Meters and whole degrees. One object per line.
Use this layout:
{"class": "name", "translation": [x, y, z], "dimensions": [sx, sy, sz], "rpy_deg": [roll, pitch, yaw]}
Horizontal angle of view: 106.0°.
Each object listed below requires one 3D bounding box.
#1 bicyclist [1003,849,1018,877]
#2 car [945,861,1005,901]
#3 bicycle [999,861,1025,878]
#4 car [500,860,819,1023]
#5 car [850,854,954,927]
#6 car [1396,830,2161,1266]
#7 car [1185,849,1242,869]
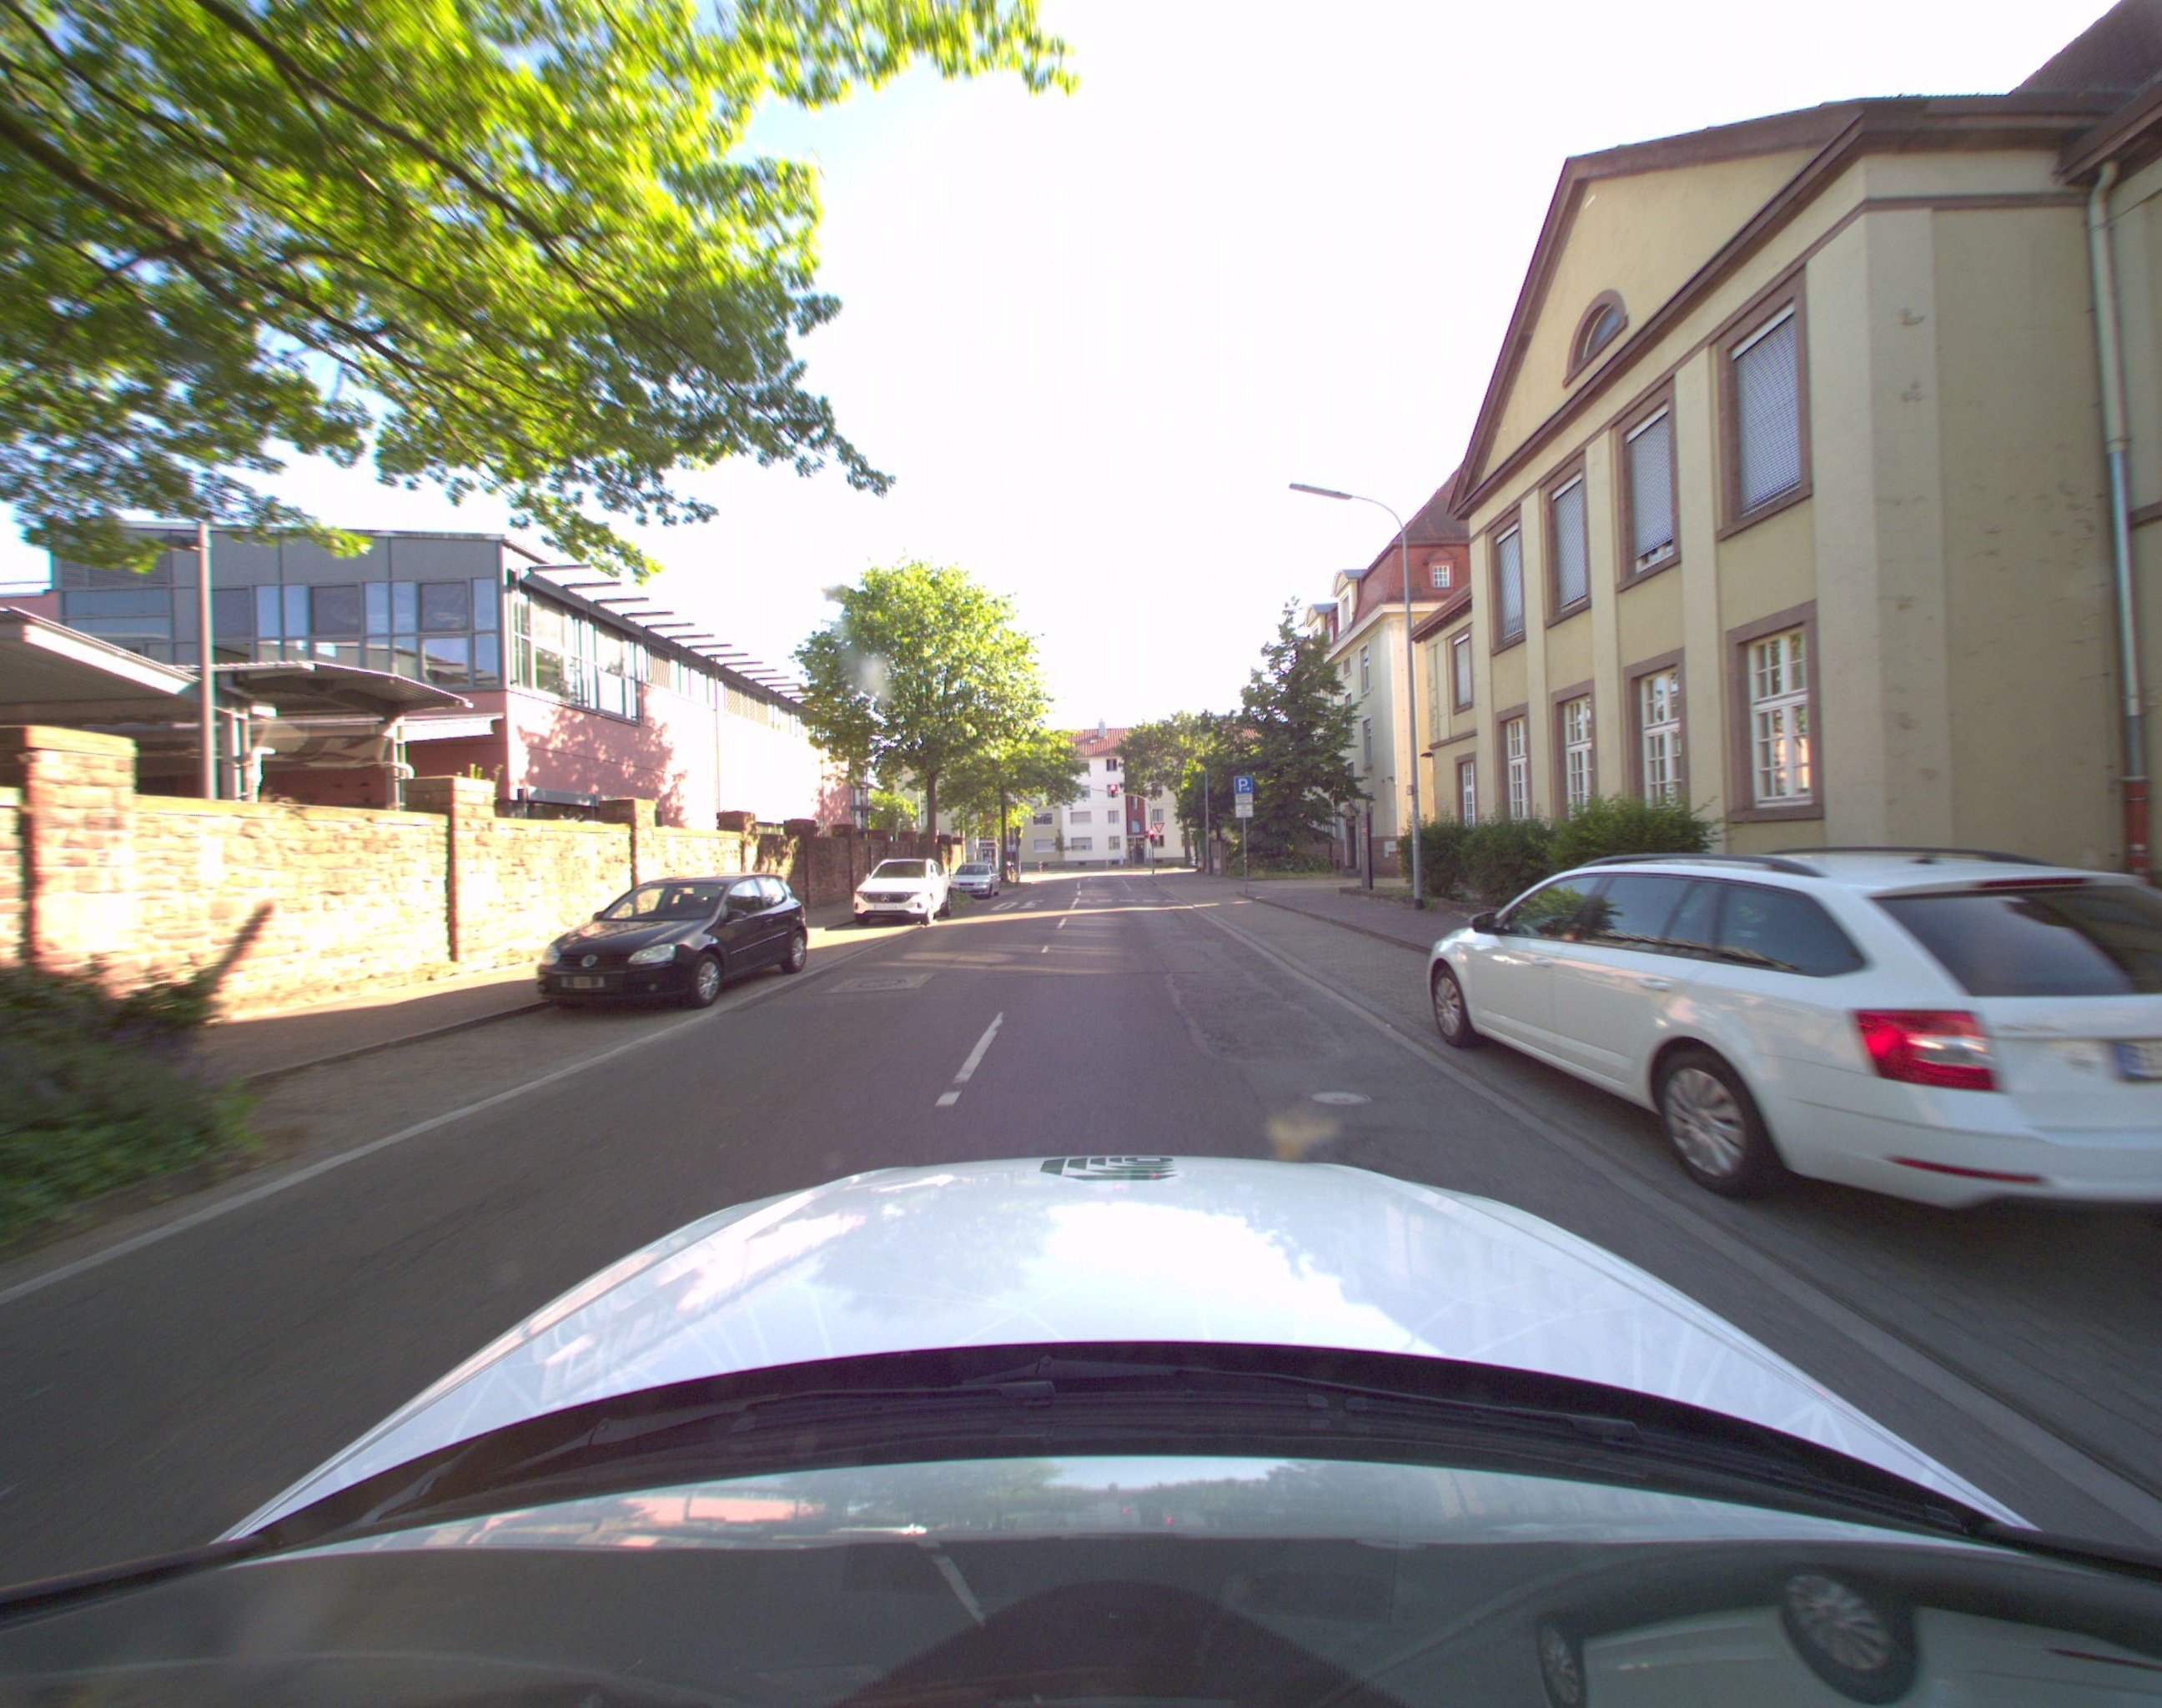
{"class": "bicyclist", "translation": [-4.586, 0.581, 53.180], "dimensions": [0.789, 1.757, 0.608], "rpy_deg": [-1, 0, -22]}
{"class": "car", "translation": [-4.221, 1.059, 33.056], "dimensions": [1.720, 1.475, 4.479], "rpy_deg": [0, 0, 1]}
{"class": "bicycle", "translation": [-4.503, 0.996, 53.234], "dimensions": [1.688, 1.080, 0.349], "rpy_deg": [-1, 0, -19]}
{"class": "car", "translation": [-5.003, 0.917, 10.419], "dimensions": [1.730, 1.592, 4.110], "rpy_deg": [-1, 0, 3]}
{"class": "car", "translation": [-4.569, 0.865, 21.415], "dimensions": [1.714, 1.683, 4.350], "rpy_deg": [-2, 0, 0]}
{"class": "car", "translation": [3.631, 0.604, 4.824], "dimensions": [1.826, 1.323, 4.497], "rpy_deg": [-2, 0, 1]}
{"class": "car", "translation": [12.127, 0.444, 74.599], "dimensions": [4.664, 1.739, 1.992], "rpy_deg": [-2, 0, -12]}
